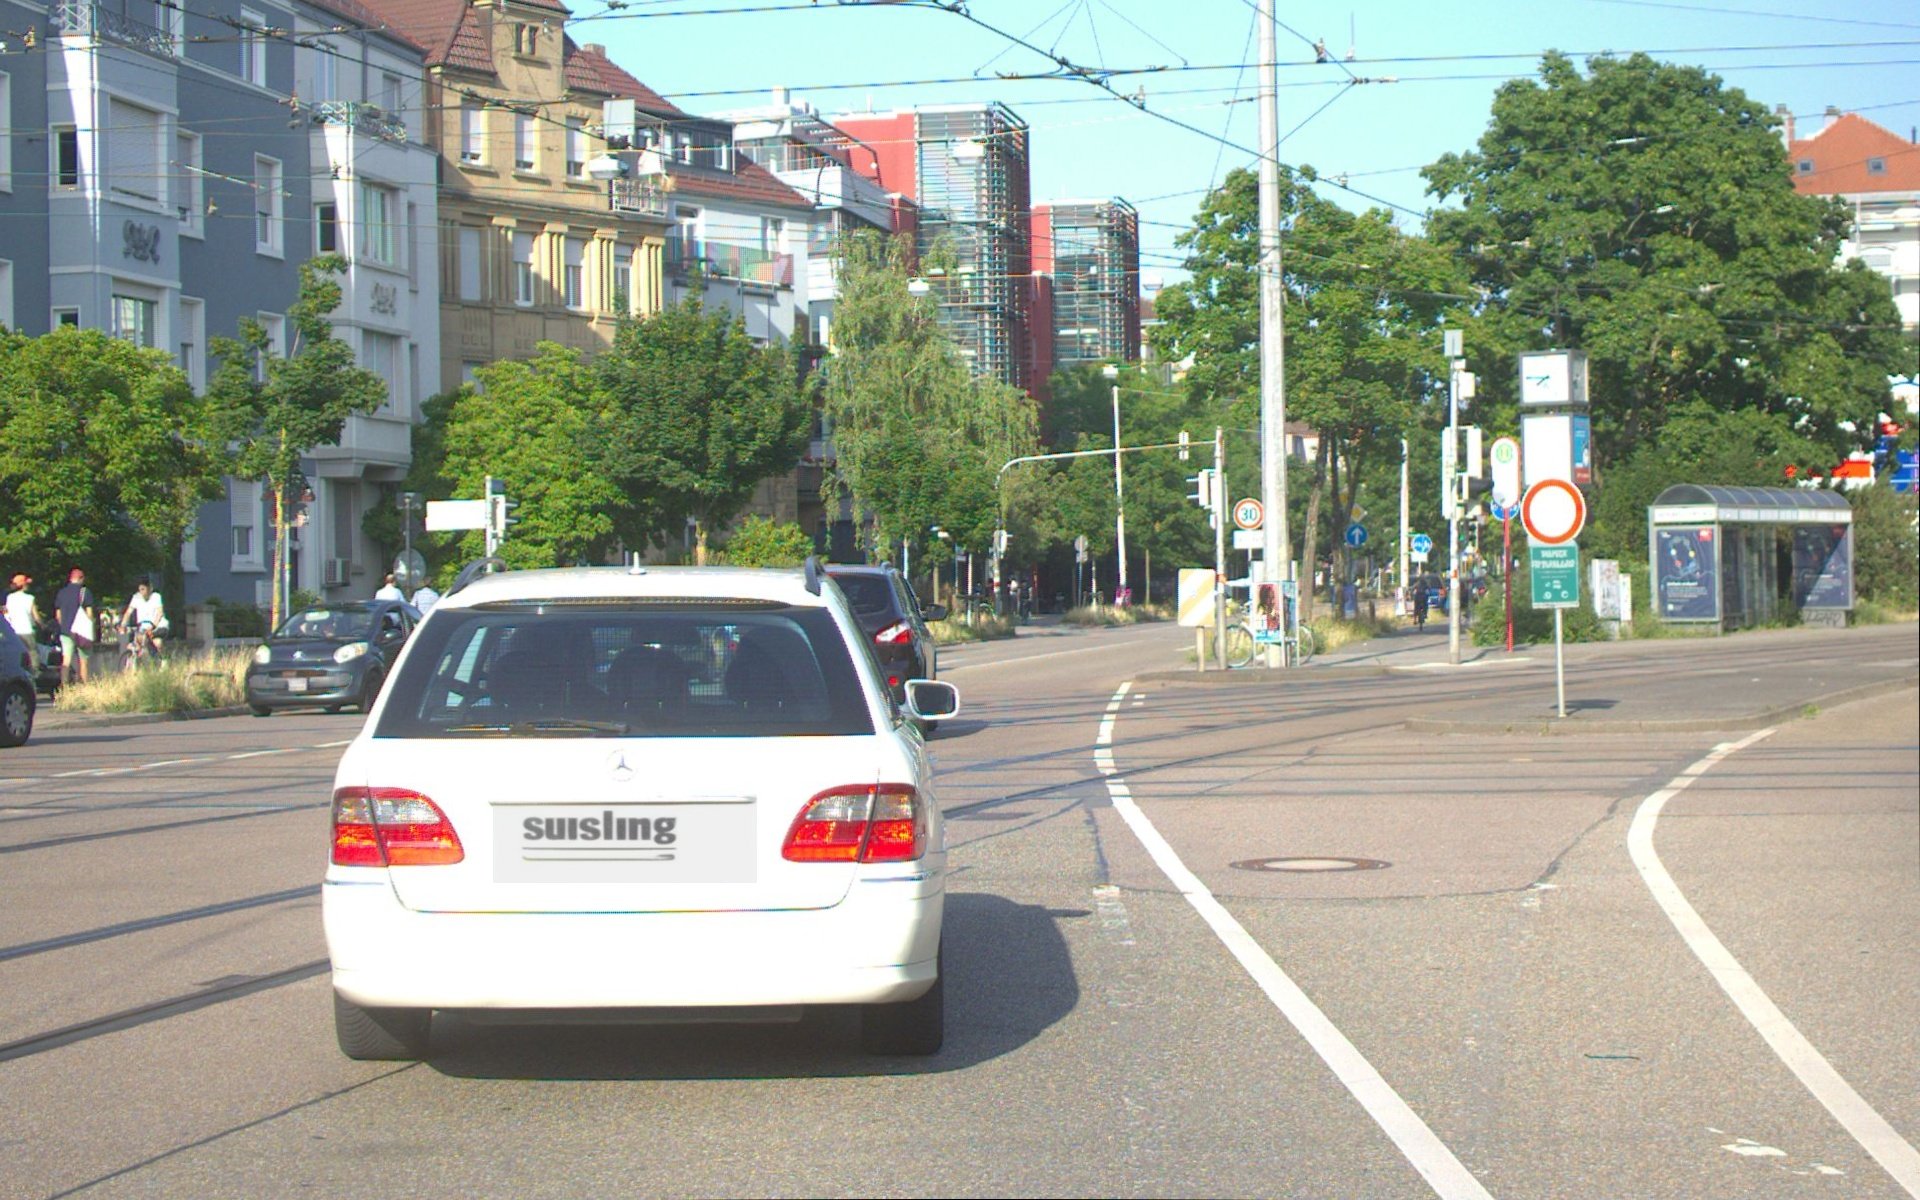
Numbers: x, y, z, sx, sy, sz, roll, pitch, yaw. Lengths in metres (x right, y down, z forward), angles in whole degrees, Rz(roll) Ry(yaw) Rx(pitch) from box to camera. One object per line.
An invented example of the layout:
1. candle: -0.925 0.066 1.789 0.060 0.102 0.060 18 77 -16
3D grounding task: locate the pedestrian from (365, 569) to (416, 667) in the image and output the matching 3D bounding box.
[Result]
1. pedestrian: -10.222 0.315 61.701 0.638 1.745 0.911 -1 0 8

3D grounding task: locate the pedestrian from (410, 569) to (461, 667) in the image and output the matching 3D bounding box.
1. pedestrian: -9.372 0.315 61.448 0.638 1.745 0.911 -1 0 8

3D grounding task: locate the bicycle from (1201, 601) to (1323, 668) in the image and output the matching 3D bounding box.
1. bicycle: 4.912 0.554 55.862 1.914 0.991 0.726 -3 0 5

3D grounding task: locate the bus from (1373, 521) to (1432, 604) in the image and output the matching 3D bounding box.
1. bus: 14.264 -1.179 110.891 1.798 2.546 3.999 2 0 7

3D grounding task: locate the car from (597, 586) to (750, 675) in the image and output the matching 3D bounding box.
1. car: -4.739 0.495 57.358 1.689 1.415 3.999 -1 0 8

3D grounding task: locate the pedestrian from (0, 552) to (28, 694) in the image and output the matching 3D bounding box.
1. pedestrian: -12.661 0.302 44.929 0.674 1.842 0.649 -1 0 13

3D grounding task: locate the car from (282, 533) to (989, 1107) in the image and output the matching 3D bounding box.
1. car: -0.981 0.574 10.988 1.835 1.496 3.816 1 0 -4

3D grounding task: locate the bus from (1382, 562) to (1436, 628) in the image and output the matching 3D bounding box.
1. bus: 16.485 -0.178 126.262 1.798 2.325 3.999 2 0 6

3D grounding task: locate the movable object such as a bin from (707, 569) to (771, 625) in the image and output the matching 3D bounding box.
1. movable object such as a bin: -5.696 -0.075 88.781 1.603 1.416 1.084 -1 0 -2

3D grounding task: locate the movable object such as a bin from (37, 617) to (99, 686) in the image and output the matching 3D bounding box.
1. movable object such as a bin: -12.481 0.718 48.131 0.583 0.943 0.662 -1 0 15

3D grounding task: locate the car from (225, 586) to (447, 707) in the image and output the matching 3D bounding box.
1. car: -7.822 0.555 43.363 1.635 1.428 3.627 -1 0 9

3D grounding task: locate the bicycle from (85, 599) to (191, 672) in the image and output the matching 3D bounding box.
1. bicycle: -11.299 0.477 47.332 0.769 0.962 2.034 -1 0 6

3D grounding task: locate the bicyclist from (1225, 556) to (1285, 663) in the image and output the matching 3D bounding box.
1. bicyclist: 4.796 0.150 55.878 0.899 1.693 0.732 -2 0 6

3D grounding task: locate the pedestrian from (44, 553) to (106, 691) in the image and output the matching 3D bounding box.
1. pedestrian: -12.106 0.294 47.057 0.584 1.874 0.626 -1 0 10

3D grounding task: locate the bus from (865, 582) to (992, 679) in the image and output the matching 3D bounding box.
1. bus: -0.520 0.518 61.073 1.844 1.630 4.158 -1 0 5

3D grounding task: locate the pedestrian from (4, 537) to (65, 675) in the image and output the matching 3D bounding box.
1. pedestrian: -12.723 0.076 47.264 0.584 1.874 0.626 -1 0 9

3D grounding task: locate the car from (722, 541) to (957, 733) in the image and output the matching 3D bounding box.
1. car: -1.028 0.305 31.102 1.642 1.595 3.814 1 0 5

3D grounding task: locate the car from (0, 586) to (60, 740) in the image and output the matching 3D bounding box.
1. car: -10.073 0.612 31.337 1.768 1.428 3.997 -1 0 17

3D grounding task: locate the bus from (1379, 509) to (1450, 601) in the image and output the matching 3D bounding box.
1. bus: 12.584 -1.221 95.260 1.798 2.405 3.999 2 0 6

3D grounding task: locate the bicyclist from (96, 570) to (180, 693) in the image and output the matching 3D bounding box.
1. bicyclist: -11.295 0.429 47.255 0.760 1.662 1.167 -1 0 6
